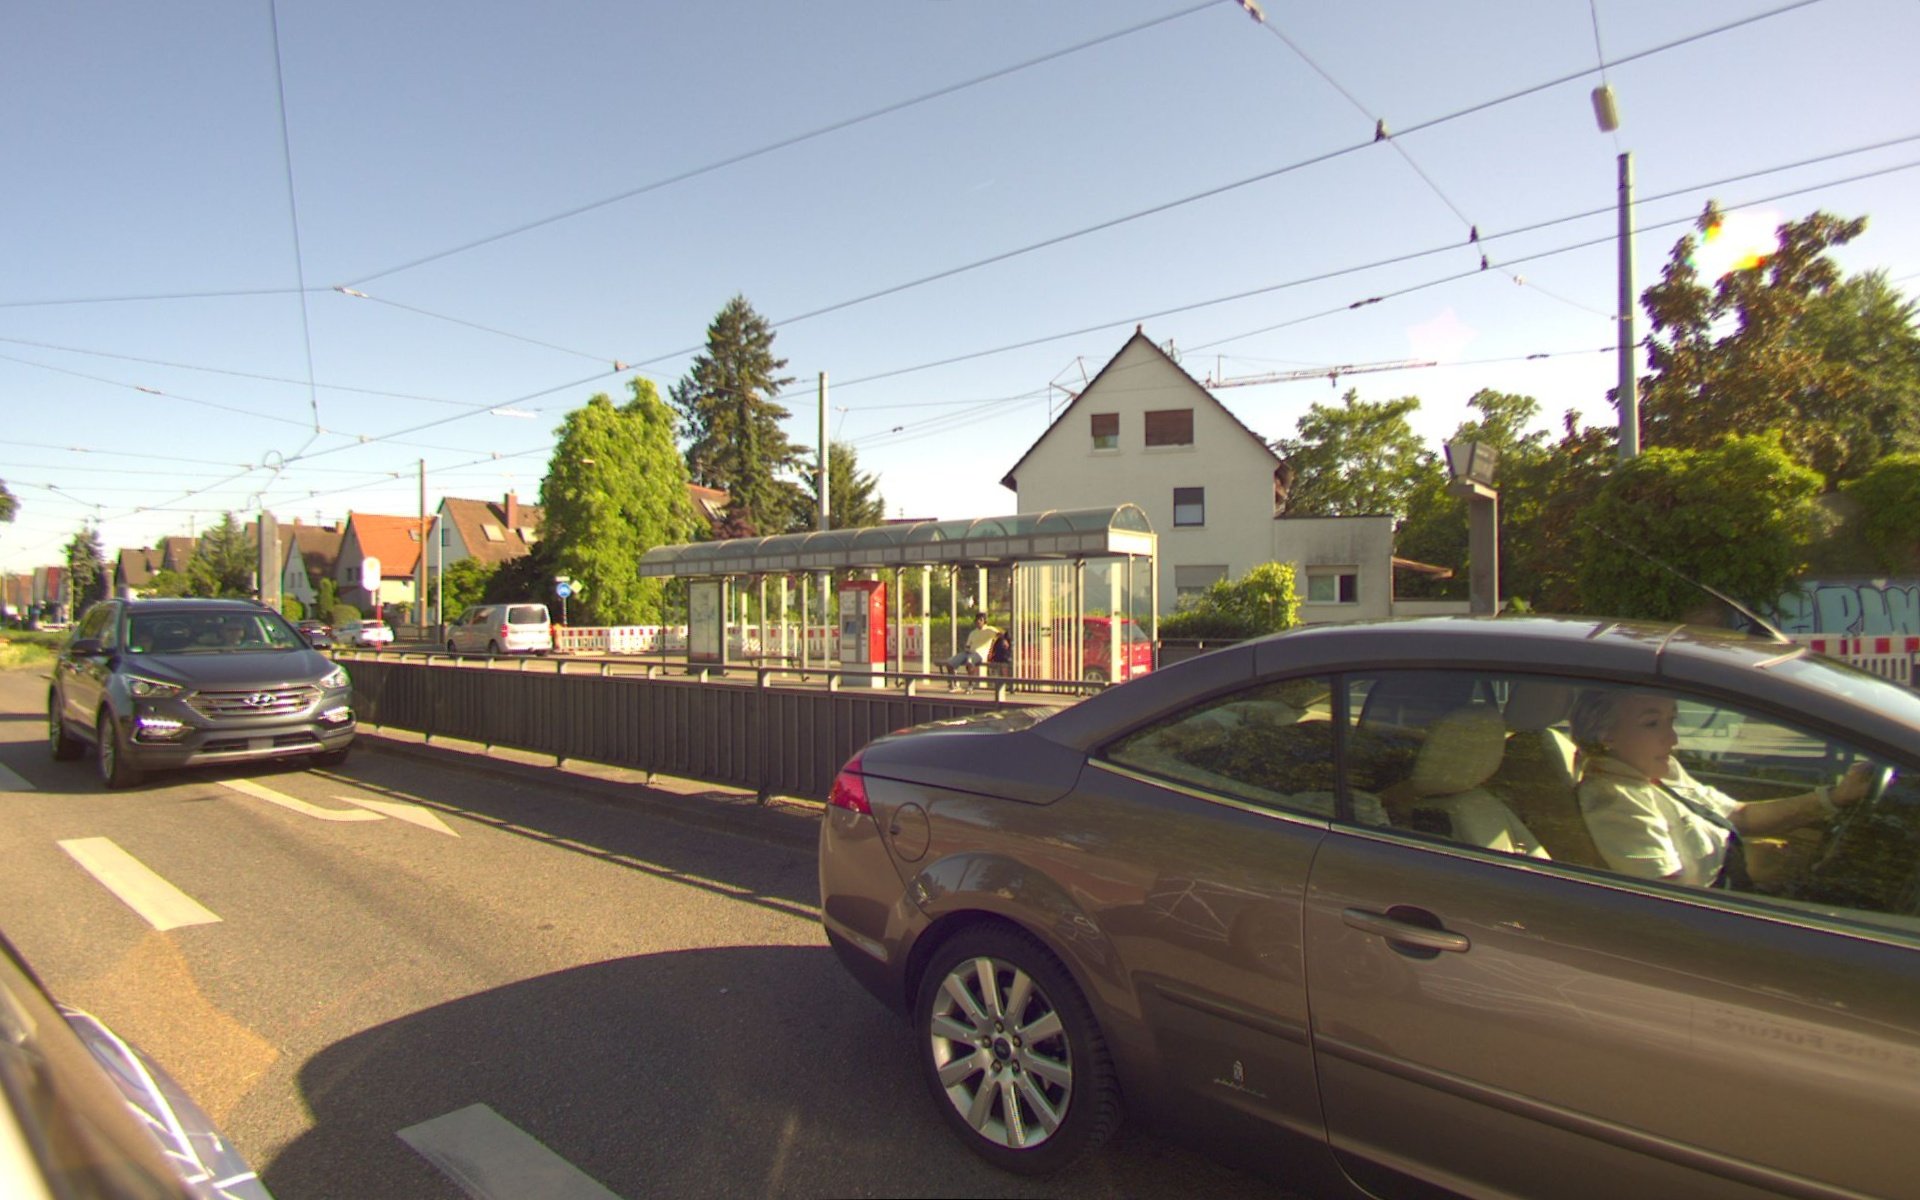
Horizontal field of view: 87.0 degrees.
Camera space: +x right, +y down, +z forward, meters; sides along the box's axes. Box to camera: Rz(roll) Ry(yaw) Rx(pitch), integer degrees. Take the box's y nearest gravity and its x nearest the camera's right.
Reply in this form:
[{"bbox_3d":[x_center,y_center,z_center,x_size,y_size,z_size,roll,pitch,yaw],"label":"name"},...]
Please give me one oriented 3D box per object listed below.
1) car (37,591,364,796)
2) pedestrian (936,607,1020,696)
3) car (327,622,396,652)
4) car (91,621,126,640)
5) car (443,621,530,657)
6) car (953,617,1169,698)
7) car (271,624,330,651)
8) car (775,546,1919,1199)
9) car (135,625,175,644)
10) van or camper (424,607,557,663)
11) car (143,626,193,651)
[{"bbox_3d":[-7.755,0.809,10.181,4.285,1.642,1.757,-2,-2,41],"label":"car"},{"bbox_3d":[0.312,0.884,17.517,1.006,1.464,1.050,-1,-3,40],"label":"pedestrian"},{"bbox_3d":[-33.062,2.015,55.861,4.610,1.483,1.865,-1,0,40],"label":"car"},{"bbox_3d":[-84.637,3.024,100.549,4.582,1.877,1.973,-2,-1,41],"label":"car"},{"bbox_3d":[-21.691,1.741,46.325,4.064,1.512,1.974,-1,0,38],"label":"car"},{"bbox_3d":[1.876,1.053,19.628,4.015,1.413,1.587,-2,-2,42],"label":"car"},{"bbox_3d":[-40.484,2.282,62.094,4.438,1.477,1.887,-1,0,41],"label":"car"},{"bbox_3d":[1.642,0.674,2.325,4.331,1.461,1.757,-2,-2,41],"label":"car"},{"bbox_3d":[-69.218,2.949,86.966,4.534,1.573,1.864,-2,0,41],"label":"car"},{"bbox_3d":[-16.775,1.230,35.983,5.983,1.842,1.973,-2,-2,40],"label":"van or camper"},{"bbox_3d":[-50.684,2.459,64.755,4.341,1.532,1.717,-2,-2,41],"label":"car"}]
